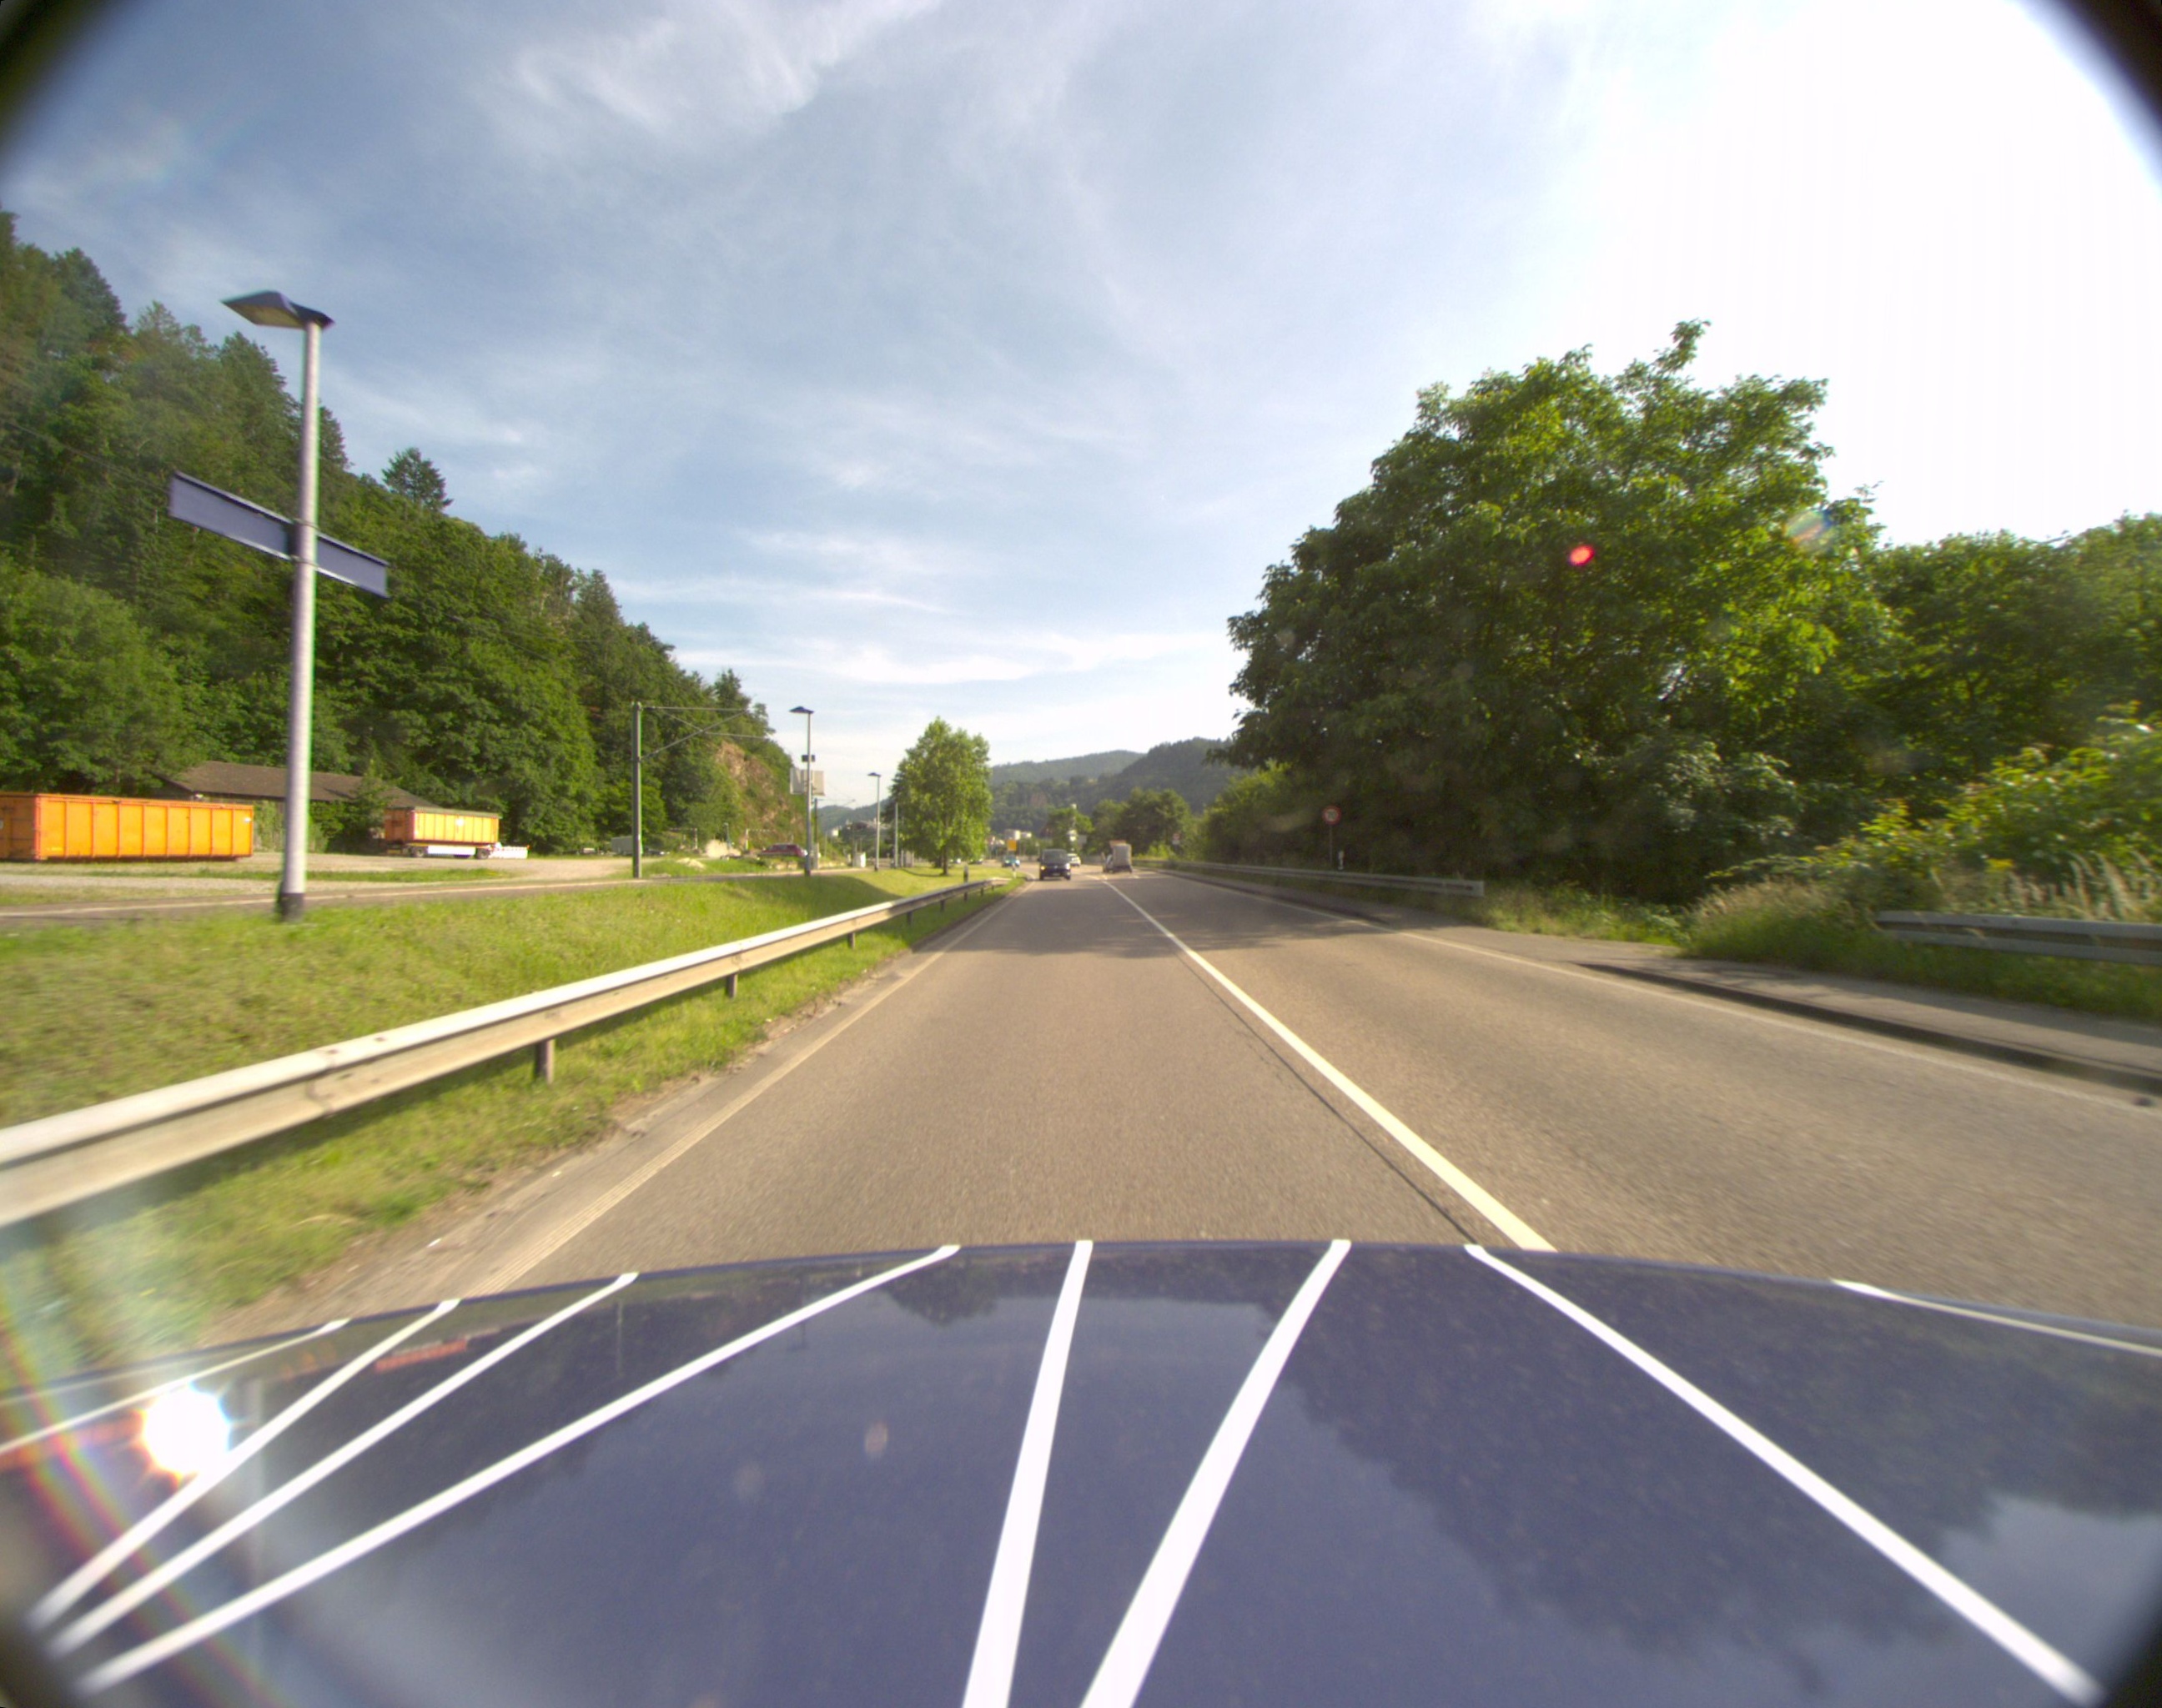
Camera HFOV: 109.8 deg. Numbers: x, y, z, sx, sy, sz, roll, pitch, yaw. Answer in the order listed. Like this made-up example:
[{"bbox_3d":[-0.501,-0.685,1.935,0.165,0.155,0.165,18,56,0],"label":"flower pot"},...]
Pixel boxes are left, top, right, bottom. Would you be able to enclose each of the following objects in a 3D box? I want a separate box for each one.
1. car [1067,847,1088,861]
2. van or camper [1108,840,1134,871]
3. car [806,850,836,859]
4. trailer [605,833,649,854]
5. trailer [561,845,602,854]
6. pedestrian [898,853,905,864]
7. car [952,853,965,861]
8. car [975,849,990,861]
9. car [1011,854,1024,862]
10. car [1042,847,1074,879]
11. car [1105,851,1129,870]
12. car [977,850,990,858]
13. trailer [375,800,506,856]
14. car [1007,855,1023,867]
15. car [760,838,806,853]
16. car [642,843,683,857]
[{"bbox_3d":[-0.441,0.017,88.842,1.951,1.478,4.583,-1,0,-5],"label":"car"},{"bbox_3d":[3.091,0.094,59.335,1.607,2.315,4.059,-2,0,-1],"label":"van or camper"},{"bbox_3d":[-40.156,0.026,117.367,4.111,1.390,1.807,-1,0,-12],"label":"car"},{"bbox_3d":[-49.075,-1.111,82.184,3.699,2.177,1.819,1,1,7],"label":"trailer"},{"bbox_3d":[-50.657,-0.474,77.098,3.068,0.909,1.738,1,0,7],"label":"trailer"},{"bbox_3d":[-20.159,0.514,85.286,0.637,1.154,0.726,1,1,-3],"label":"pedestrian"},{"bbox_3d":[-23.883,0.509,148.034,1.879,1.452,3.723,1,0,-17],"label":"car"},{"bbox_3d":[-16.543,0.159,128.010,2.001,1.783,3.995,3,0,-13],"label":"car"},{"bbox_3d":[-11.356,0.642,135.483,1.700,1.394,4.196,-1,1,-15],"label":"car"},{"bbox_3d":[-1.429,0.542,48.288,1.909,1.868,4.347,-2,0,-1],"label":"car"},{"bbox_3d":[2.961,0.504,63.685,1.652,1.428,4.605,-2,0,-1],"label":"car"},{"bbox_3d":[-21.148,0.006,164.326,1.858,1.461,4.534,-2,1,-19],"label":"car"},{"bbox_3d":[-47.813,-1.806,57.066,2.611,3.871,7.737,1,0,8],"label":"trailer"},{"bbox_3d":[-8.348,0.846,96.237,1.769,1.452,3.573,1,0,-8],"label":"car"},{"bbox_3d":[-36.287,-1.013,92.545,4.968,1.681,1.934,-1,0,-12],"label":"car"},{"bbox_3d":[-46.145,-0.473,83.759,3.609,1.478,1.671,1,0,5],"label":"car"}]
